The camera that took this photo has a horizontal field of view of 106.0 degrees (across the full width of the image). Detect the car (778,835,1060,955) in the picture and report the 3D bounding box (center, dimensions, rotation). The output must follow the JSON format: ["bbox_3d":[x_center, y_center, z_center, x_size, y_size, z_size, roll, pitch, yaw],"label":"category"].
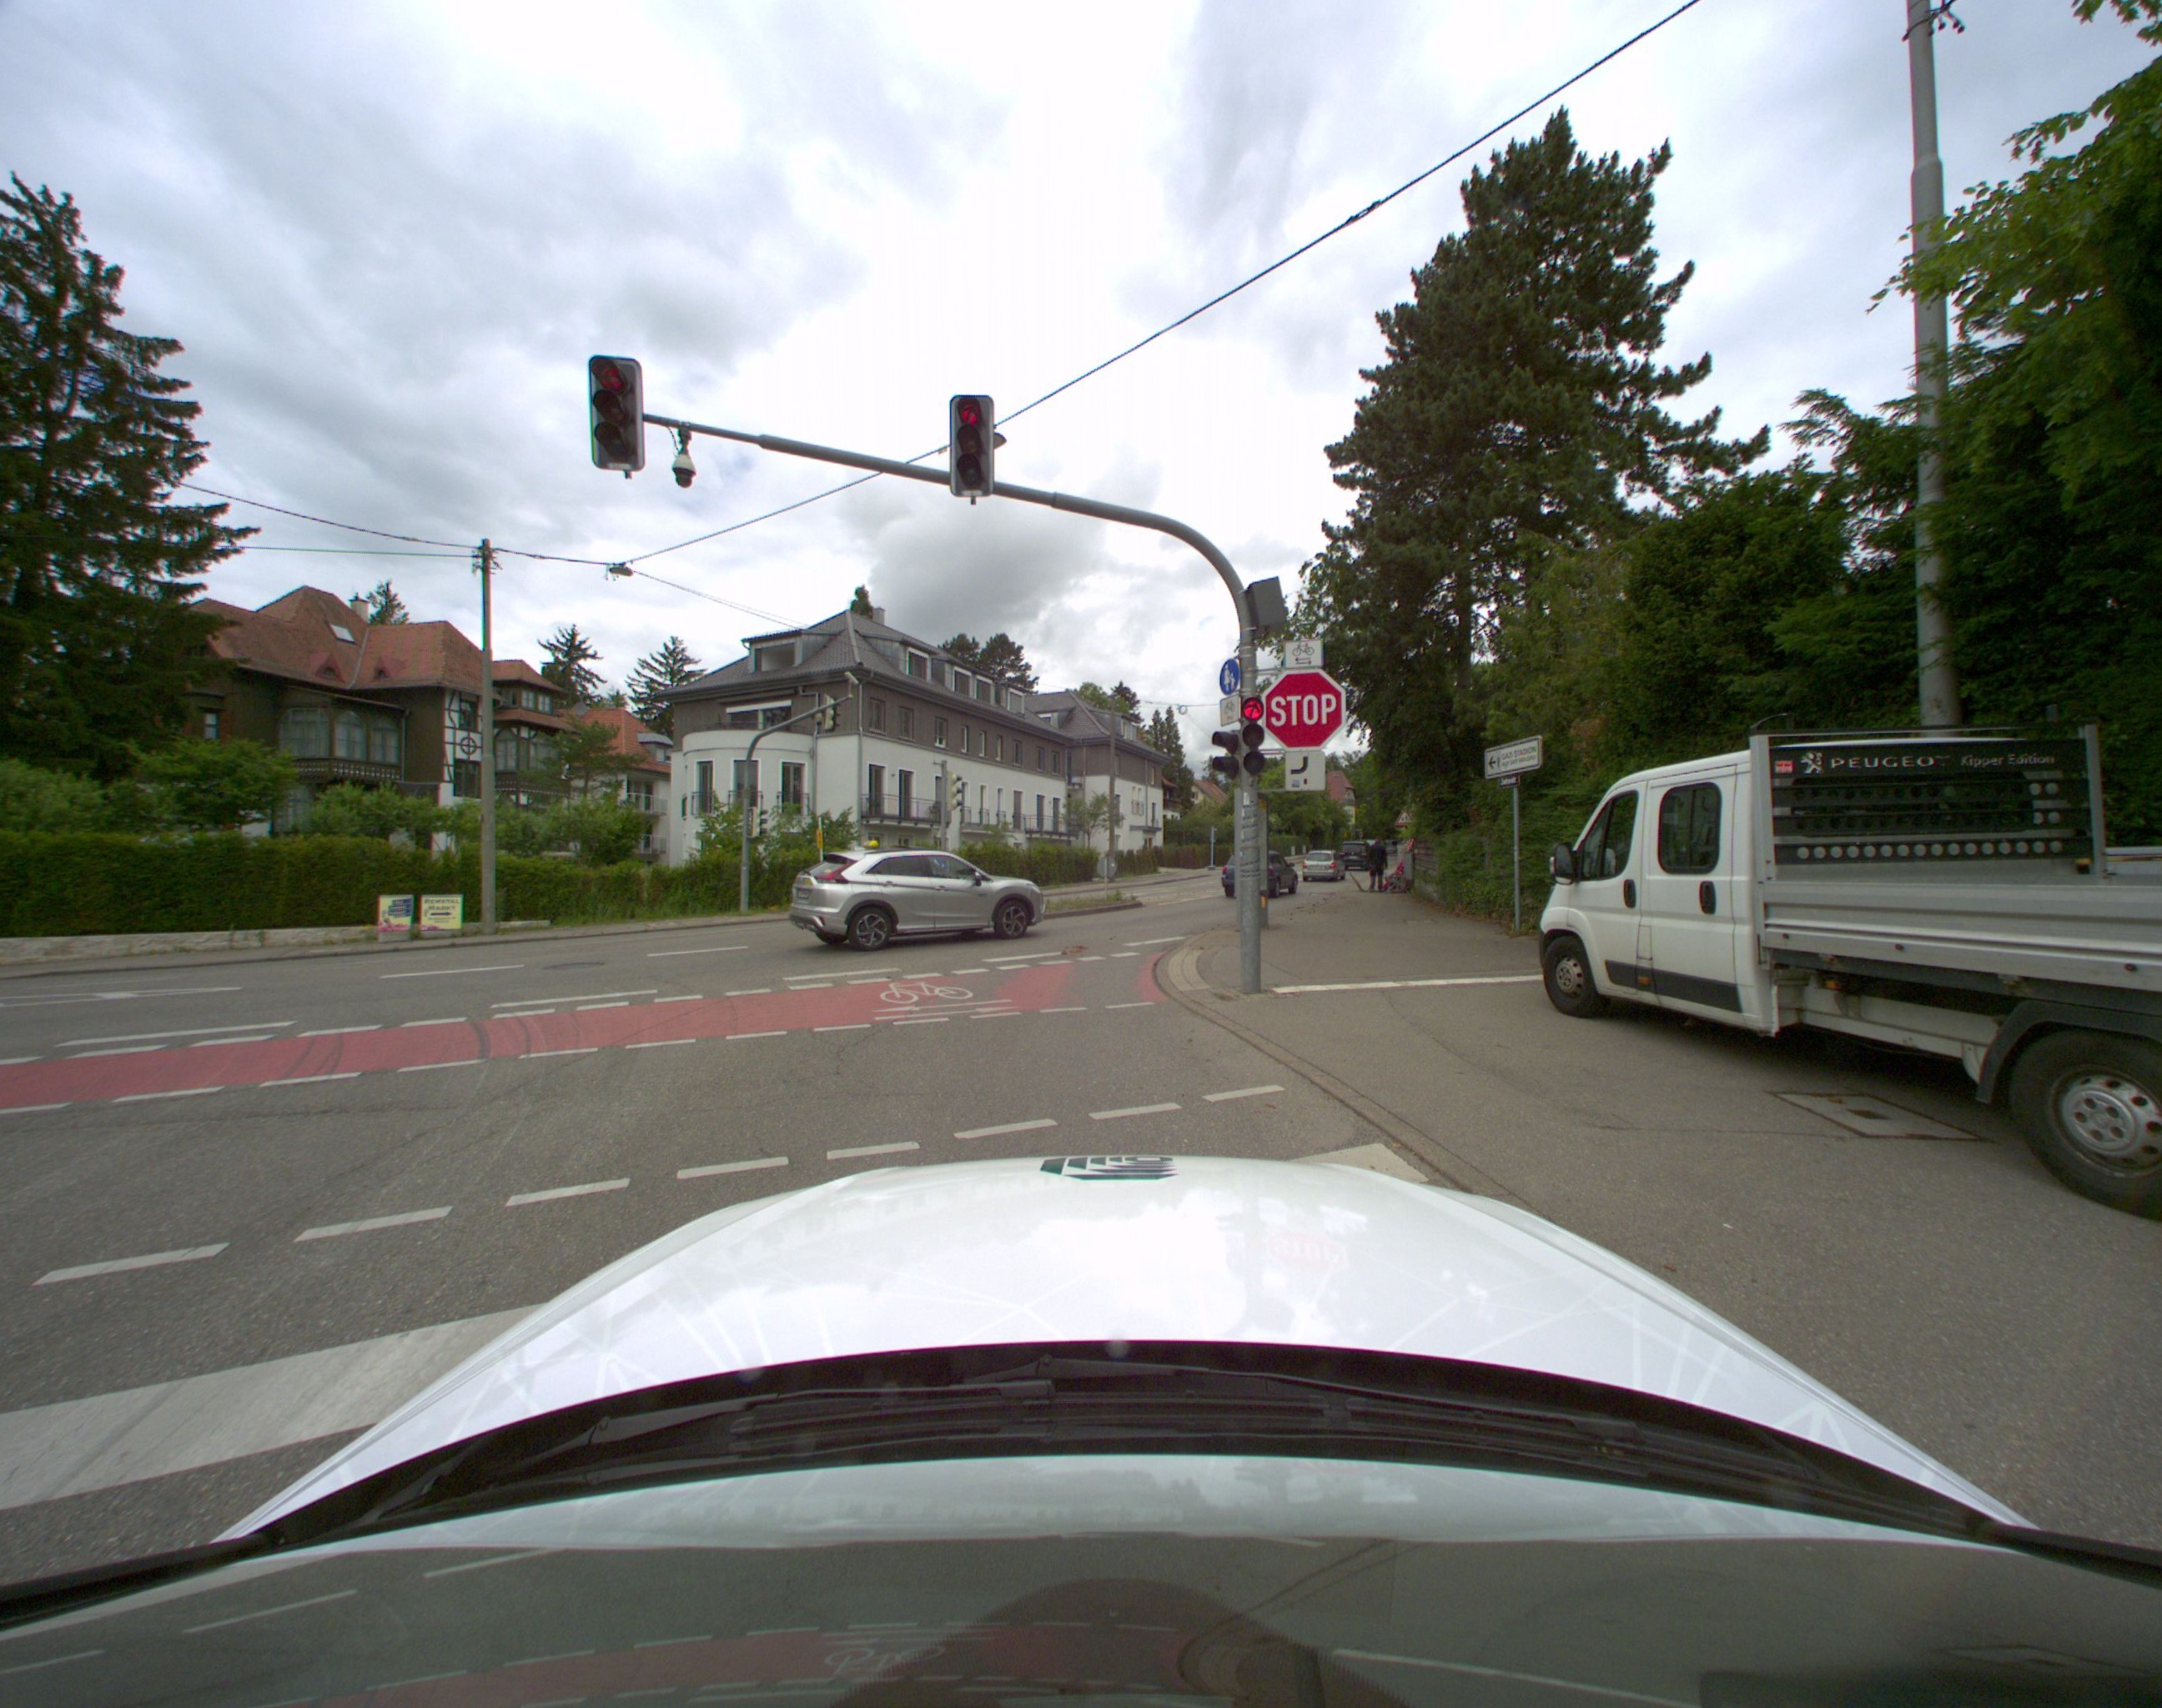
[{"bbox_3d":[-2.734,0.606,14.311,4.509,1.753,1.792,-2,0,-38],"label":"car"}]

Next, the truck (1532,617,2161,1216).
[{"bbox_3d":[5.276,0.235,4.961,2.198,2.243,5.729,0,0,4],"label":"truck"}]

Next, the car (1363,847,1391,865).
[{"bbox_3d":[24.842,0.150,68.203,1.824,1.459,4.102,1,1,25],"label":"car"}]

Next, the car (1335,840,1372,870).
[{"bbox_3d":[18.234,0.031,54.379,1.902,1.894,4.935,1,1,23],"label":"car"}]

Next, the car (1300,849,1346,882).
[{"bbox_3d":[11.745,0.522,39.380,1.679,1.430,3.769,-2,0,23],"label":"car"}]

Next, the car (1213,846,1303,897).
[{"bbox_3d":[6.088,0.540,27.567,1.783,1.527,4.771,-2,0,27],"label":"car"}]

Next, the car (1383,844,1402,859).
[{"bbox_3d":[38.655,-0.305,101.091,1.922,1.825,4.101,1,1,24],"label":"car"}]

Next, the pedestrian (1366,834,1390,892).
[{"bbox_3d":[9.945,0.295,27.285,0.594,1.907,0.559,0,-1,2],"label":"pedestrian"}]
